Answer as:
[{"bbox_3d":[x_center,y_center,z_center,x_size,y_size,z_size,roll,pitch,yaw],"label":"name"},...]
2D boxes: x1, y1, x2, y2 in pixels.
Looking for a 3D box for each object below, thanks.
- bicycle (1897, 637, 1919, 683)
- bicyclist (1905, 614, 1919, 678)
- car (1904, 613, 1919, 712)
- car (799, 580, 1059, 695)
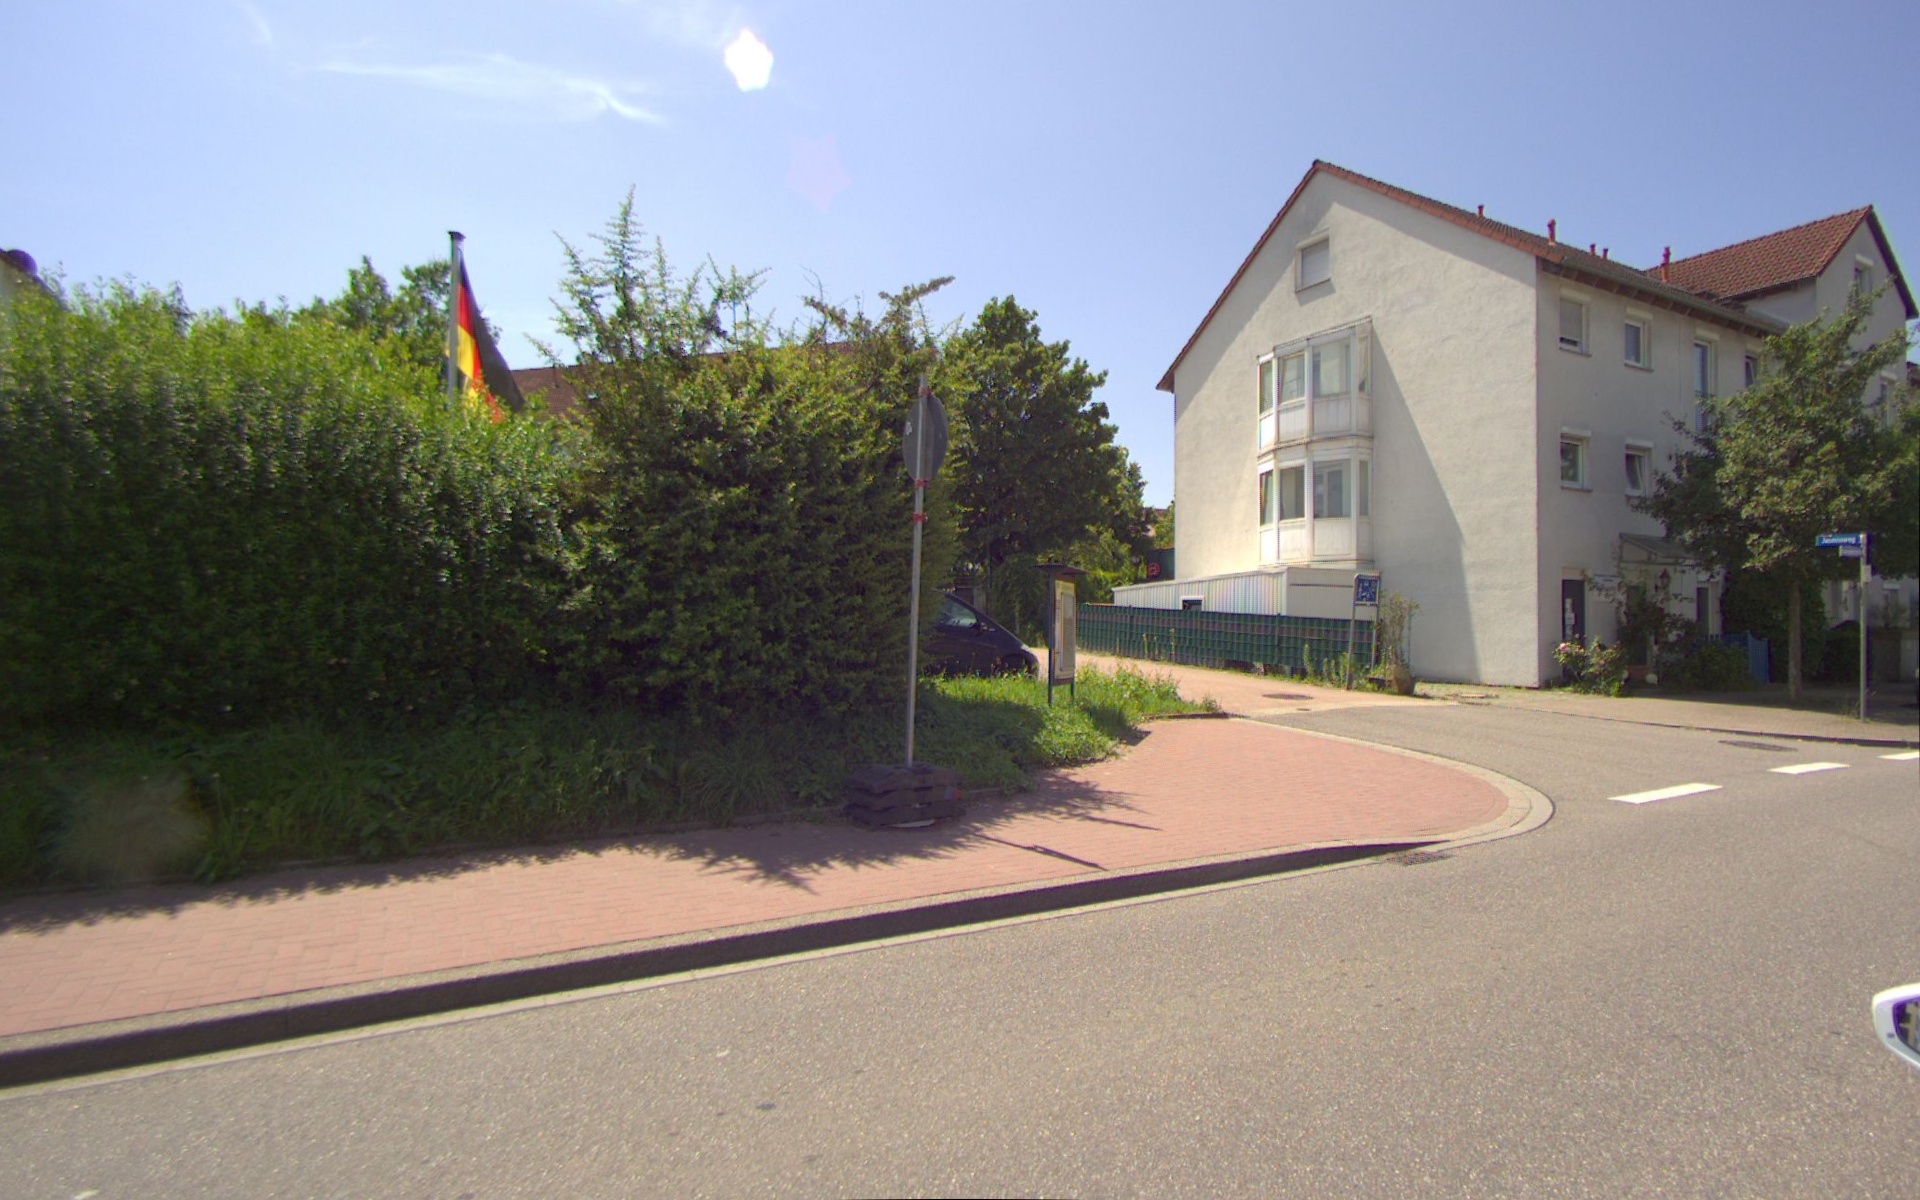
[{"bbox_3d":[23.521,1.442,24.402,2.005,1.070,0.667,1,1,-34],"label":"bicycle"},{"bbox_3d":[23.603,1.129,24.431,0.900,1.514,0.654,1,2,-34],"label":"bicyclist"},{"bbox_3d":[18.939,1.123,18.080,4.474,1.709,1.697,1,0,-31],"label":"car"},{"bbox_3d":[-0.467,0.544,15.355,3.605,1.561,1.617,1,1,-27],"label":"car"}]
